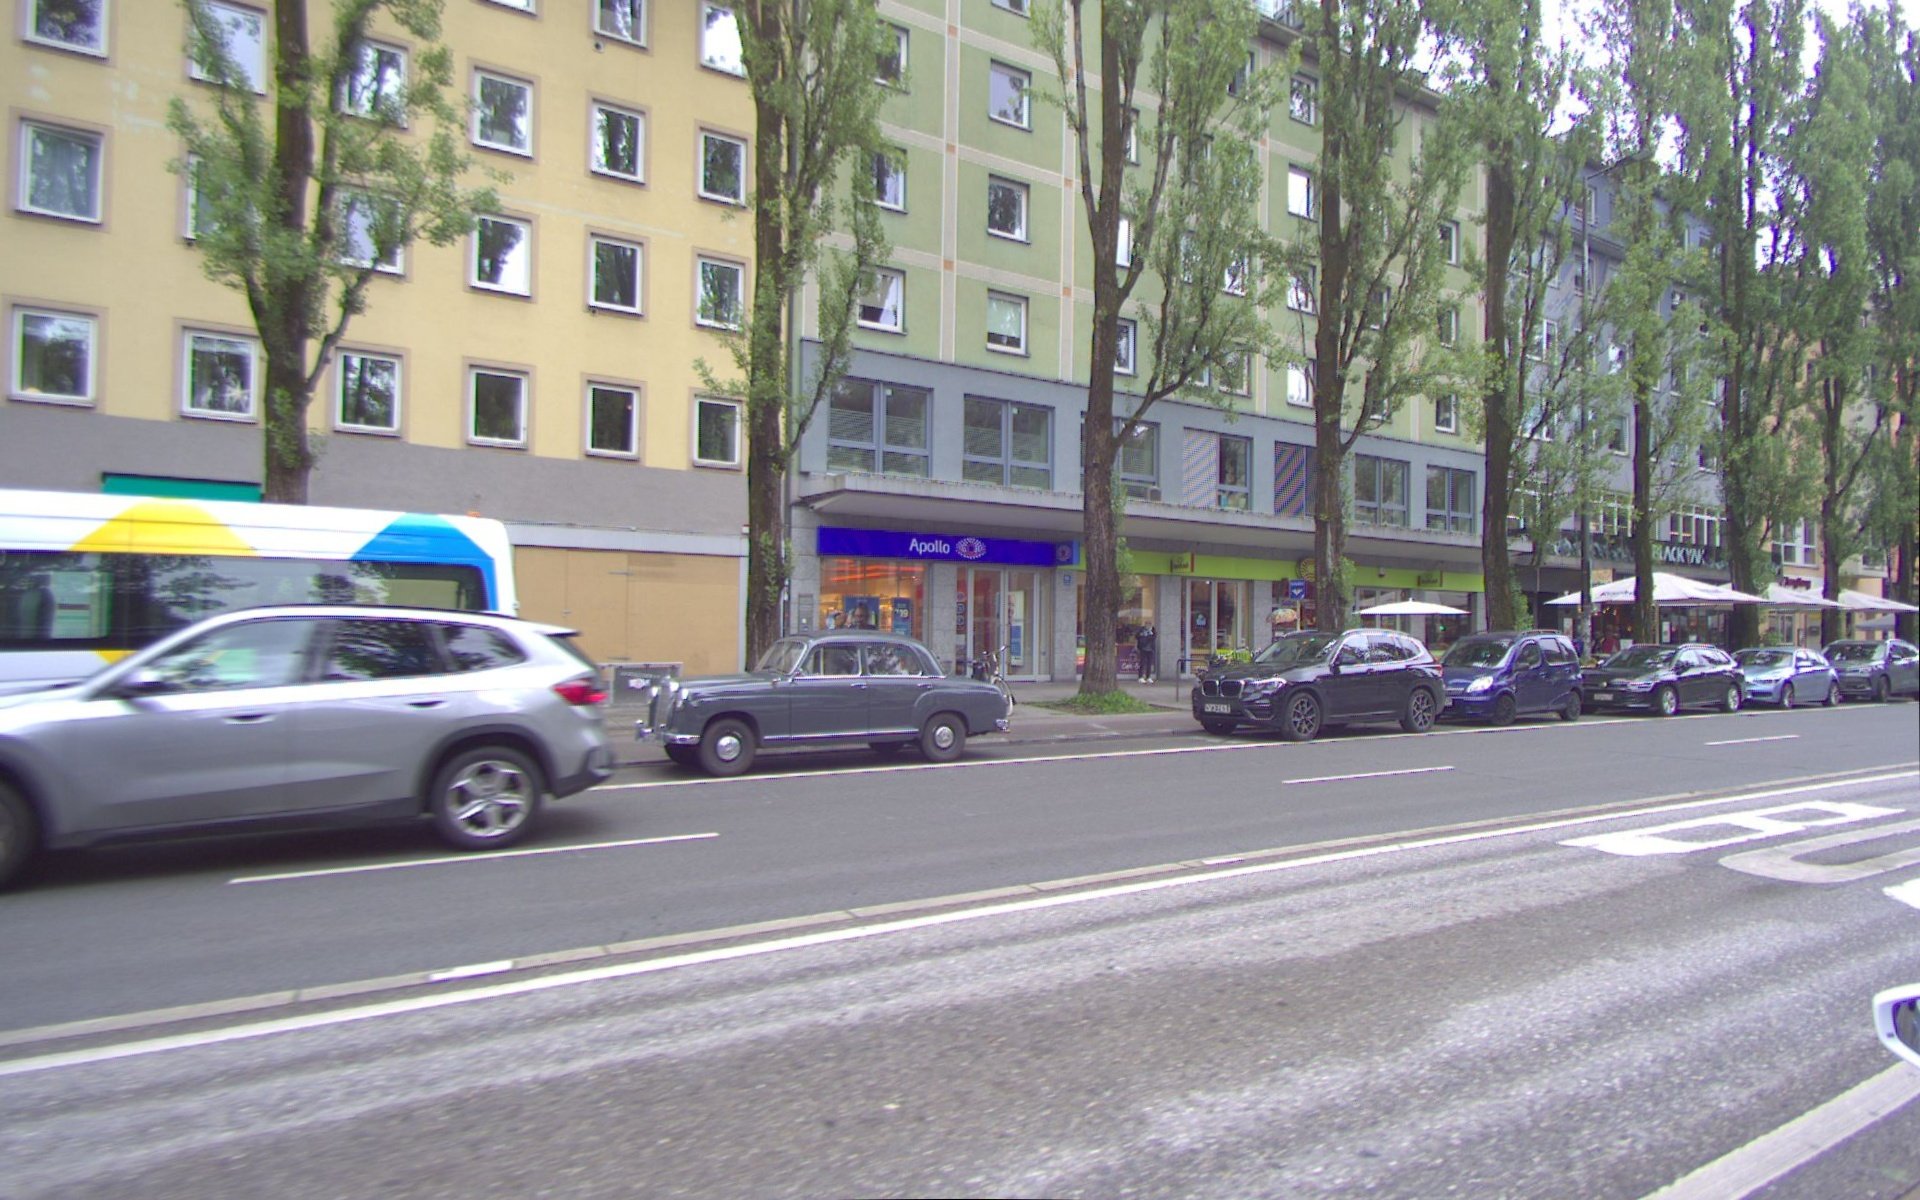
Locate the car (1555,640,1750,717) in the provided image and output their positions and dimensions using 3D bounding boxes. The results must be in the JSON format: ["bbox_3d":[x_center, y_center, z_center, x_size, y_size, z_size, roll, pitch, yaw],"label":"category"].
[{"bbox_3d":[14.957,1.640,21.651,4.299,1.508,1.790,2,-3,-30],"label":"car"}]

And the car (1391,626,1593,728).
[{"bbox_3d":[10.094,1.412,18.988,3.880,1.743,1.700,2,-3,-33],"label":"car"}]

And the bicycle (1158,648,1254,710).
[{"bbox_3d":[5.137,1.634,21.092,0.712,1.110,1.933,1,1,-35],"label":"bicycle"}]

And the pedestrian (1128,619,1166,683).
[{"bbox_3d":[5.054,1.381,27.119,0.749,1.708,0.670,2,-3,-29],"label":"pedestrian"}]

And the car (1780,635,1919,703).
[{"bbox_3d":[24.168,1.815,27.018,4.349,1.687,1.858,2,-3,-30],"label":"car"}]

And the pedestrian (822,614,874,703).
[{"bbox_3d":[-2.204,1.140,19.712,0.775,1.708,0.753,2,-3,-28],"label":"pedestrian"}]

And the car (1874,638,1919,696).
[{"bbox_3d":[29.434,1.985,30.114,4.072,1.687,1.858,2,-3,-30],"label":"car"}]

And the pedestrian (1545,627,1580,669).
[{"bbox_3d":[21.119,1.680,35.216,0.792,1.428,0.760,2,0,-34],"label":"pedestrian"}]

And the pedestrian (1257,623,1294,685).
[{"bbox_3d":[8.922,1.522,28.430,0.667,1.708,0.753,2,-3,-28],"label":"pedestrian"}]

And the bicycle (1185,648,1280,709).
[{"bbox_3d":[5.814,1.655,21.563,0.712,1.110,1.933,1,1,-35],"label":"bicycle"}]

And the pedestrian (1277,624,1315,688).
[{"bbox_3d":[9.276,1.544,27.741,0.667,1.708,0.753,2,-3,-28],"label":"pedestrian"}]

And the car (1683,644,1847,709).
[{"bbox_3d":[19.404,1.802,24.183,4.095,1.444,1.725,2,-3,-30],"label":"car"}]

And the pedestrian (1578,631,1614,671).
[{"bbox_3d":[23.511,1.886,37.139,0.755,1.428,0.797,2,0,-18],"label":"pedestrian"}]

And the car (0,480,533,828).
[{"bbox_3d":[-7.438,0.450,8.515,6.831,2.601,1.996,2,-3,-30],"label":"car"}]

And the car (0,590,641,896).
[{"bbox_3d":[-4.629,0.836,6.844,4.405,1.656,1.762,2,-3,-31],"label":"car"}]

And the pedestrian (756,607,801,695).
[{"bbox_3d":[-3.641,1.017,20.133,0.667,1.708,0.753,2,-3,-29],"label":"pedestrian"}]

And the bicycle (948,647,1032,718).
[{"bbox_3d":[0.524,1.469,18.272,0.710,1.110,1.862,1,1,-26],"label":"bicycle"}]

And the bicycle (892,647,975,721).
[{"bbox_3d":[-0.497,1.443,17.632,0.710,1.110,1.862,1,1,-26],"label":"bicycle"}]

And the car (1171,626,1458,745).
[{"bbox_3d":[5.742,1.306,16.139,4.557,1.686,1.858,2,-3,-30],"label":"car"}]

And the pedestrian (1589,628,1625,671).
[{"bbox_3d":[22.528,1.725,34.975,0.792,1.428,0.760,2,0,-34],"label":"pedestrian"}]

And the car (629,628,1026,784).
[{"bbox_3d":[-1.530,1.166,12.067,4.362,1.572,1.858,2,-3,-30],"label":"car"}]
